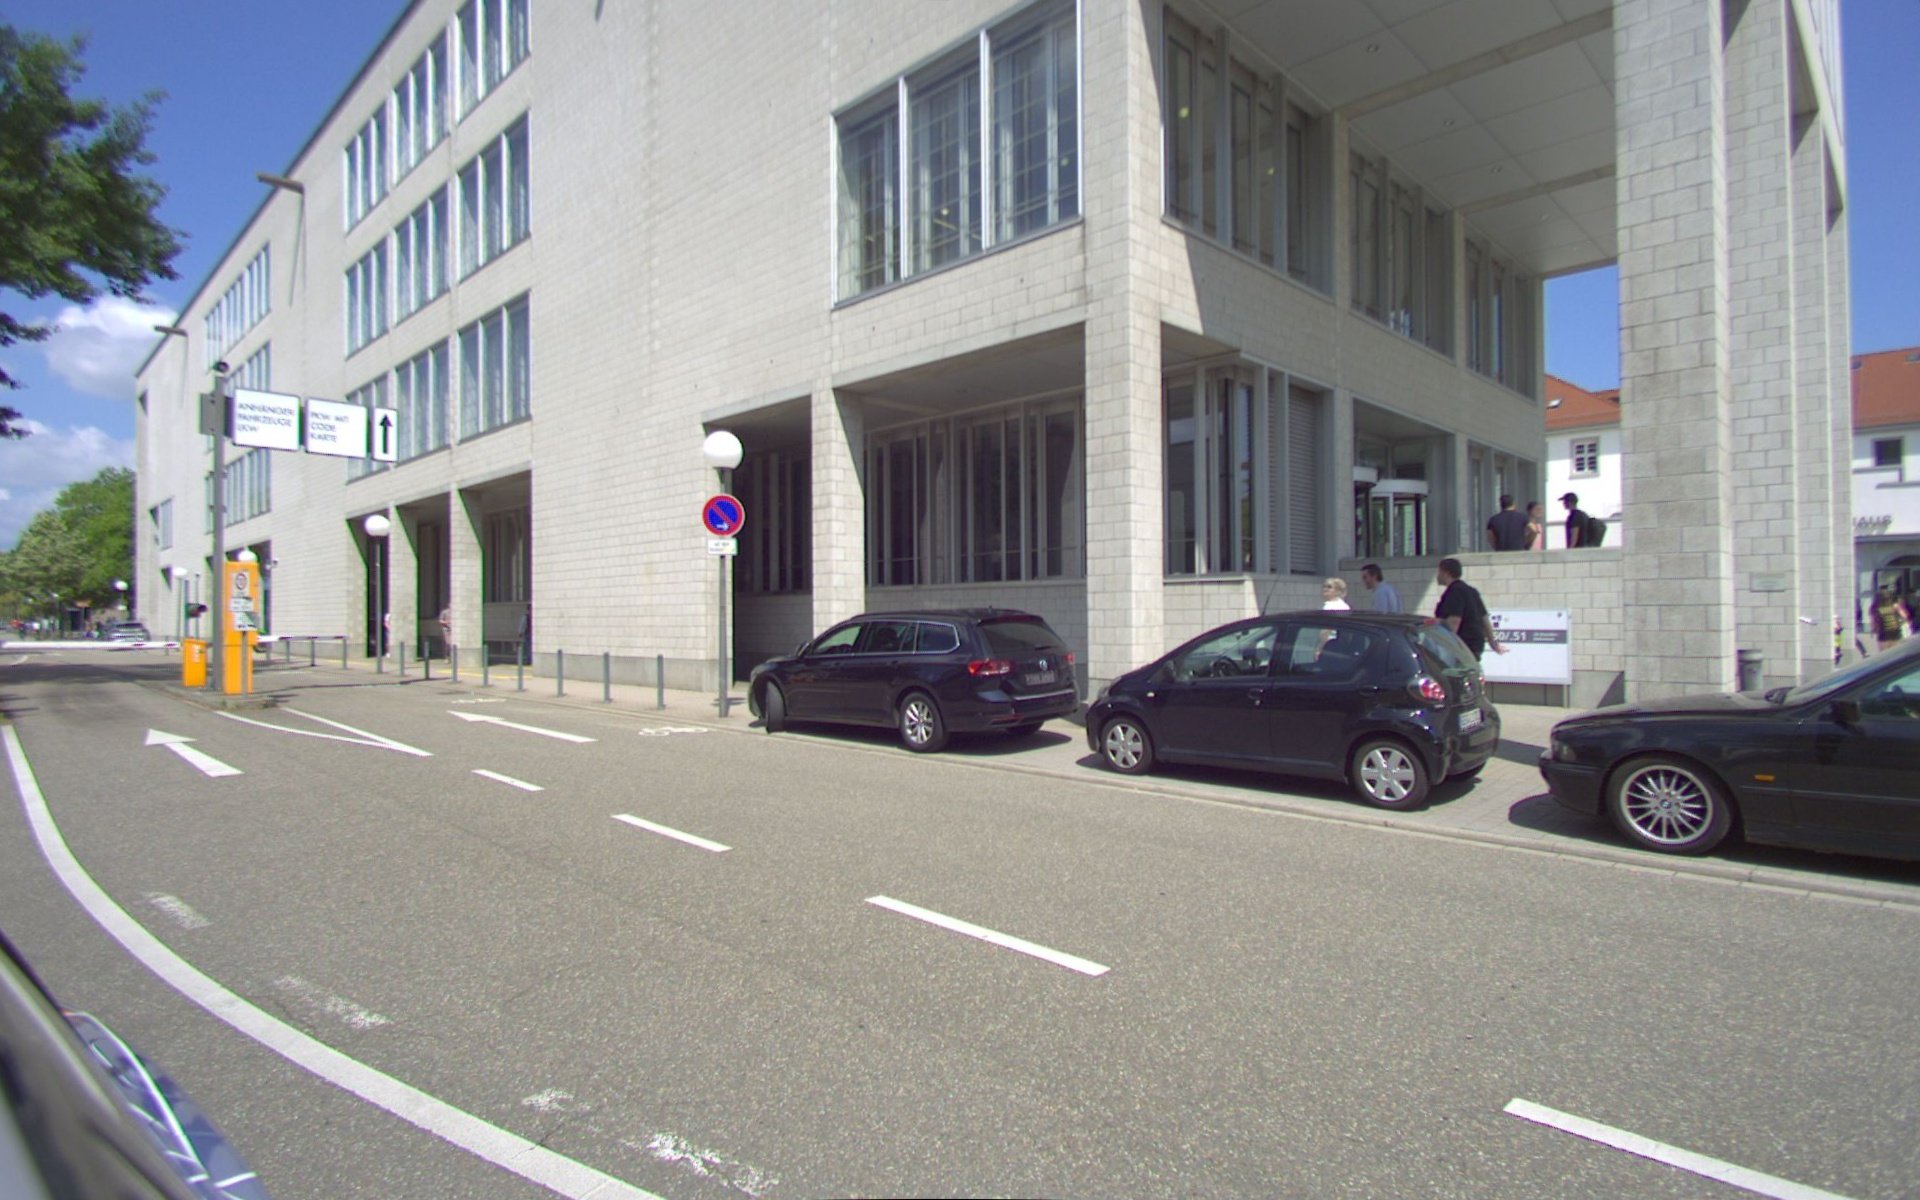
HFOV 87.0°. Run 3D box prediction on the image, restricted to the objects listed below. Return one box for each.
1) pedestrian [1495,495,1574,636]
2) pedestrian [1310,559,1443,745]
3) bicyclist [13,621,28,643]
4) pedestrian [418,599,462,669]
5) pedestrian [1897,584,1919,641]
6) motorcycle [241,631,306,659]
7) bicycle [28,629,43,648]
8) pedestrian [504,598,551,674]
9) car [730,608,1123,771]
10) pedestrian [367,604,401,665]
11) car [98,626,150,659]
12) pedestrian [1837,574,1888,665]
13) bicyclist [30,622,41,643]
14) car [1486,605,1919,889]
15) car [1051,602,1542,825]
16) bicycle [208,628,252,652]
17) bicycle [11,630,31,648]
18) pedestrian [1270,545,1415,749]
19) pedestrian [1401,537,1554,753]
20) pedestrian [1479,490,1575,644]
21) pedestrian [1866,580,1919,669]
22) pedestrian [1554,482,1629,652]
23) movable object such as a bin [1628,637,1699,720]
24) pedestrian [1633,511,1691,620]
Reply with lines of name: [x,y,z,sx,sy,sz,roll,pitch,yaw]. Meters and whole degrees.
pedestrian: [9.131,-0.532,16.097,0.693,2.161,0.807,0,-1,-25]
pedestrian: [4.840,0.577,11.775,1.164,2.029,0.974,-2,-2,41]
bicyclist: [-77.843,2.677,83.877,0.731,1.790,0.753,-1,-1,35]
pedestrian: [-15.404,0.995,29.960,1.066,2.029,0.839,-2,-2,43]
pedestrian: [34.789,0.447,36.644,1.041,2.029,0.924,0,-1,-28]
motorcycle: [-29.197,1.893,43.087,0.773,1.146,2.147,-1,-2,34]
bicycle: [-77.703,3.235,85.062,1.932,1.505,0.631,-1,-1,37]
pedestrian: [-11.930,0.989,27.918,1.066,2.029,0.839,-2,-2,43]
car: [-0.586,0.892,11.827,4.720,1.478,1.838,-2,0,45]
pedestrian: [-19.721,1.170,34.640,0.846,2.029,0.882,0,-1,-43]
car: [-44.401,2.209,53.731,1.706,1.546,4.408,-2,1,-45]
pedestrian: [20.572,0.437,23.071,0.749,2.029,0.738,0,-1,-41]
bicyclist: [-77.712,2.718,85.081,0.695,1.778,0.602,-1,-1,37]
car: [5.861,0.743,5.461,1.838,1.388,5.020,-2,1,-43]
car: [2.760,0.815,8.823,3.708,1.478,1.620,-2,0,45]
bicycle: [-35.719,1.960,49.532,0.607,1.095,1.622,-2,-1,39]
bicycle: [-77.873,3.211,83.916,2.057,1.505,0.789,-1,-1,35]
pedestrian: [4.084,0.483,10.816,1.164,2.029,0.974,-2,-2,41]
pedestrian: [5.252,0.434,10.277,1.164,2.029,0.974,-2,-2,41]
pedestrian: [7.843,-0.426,13.998,0.911,2.029,0.967,-1,-1,45]
pedestrian: [17.724,0.452,18.995,0.722,1.626,0.738,-1,-1,-6]
pedestrian: [9.334,-0.463,14.987,0.732,2.440,0.755,-1,-1,18]
movable object such as a bin: [8.438,0.923,12.144,0.596,0.937,0.569,-1,-1,45]
pedestrian: [11.725,-0.549,16.912,0.758,1.770,0.729,-1,-1,35]
